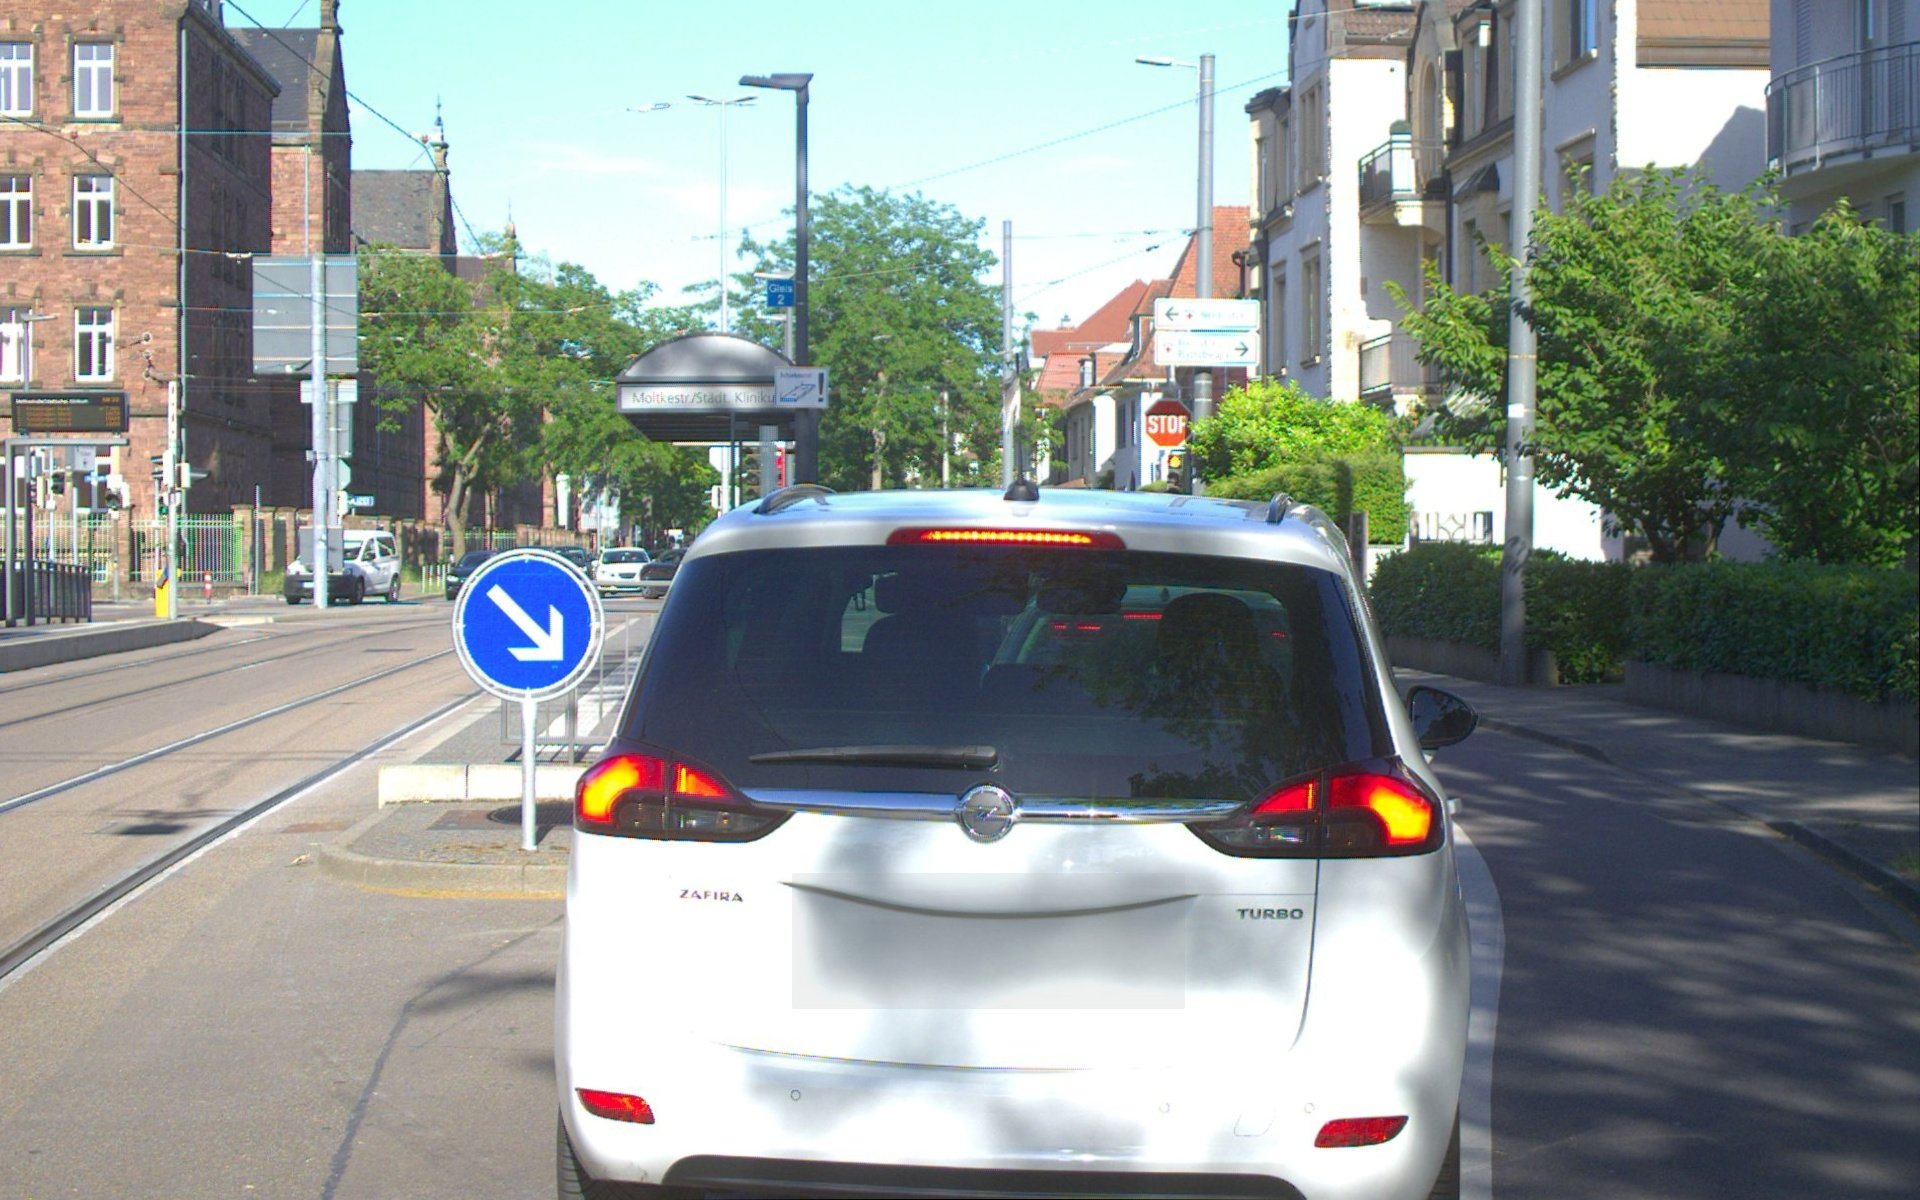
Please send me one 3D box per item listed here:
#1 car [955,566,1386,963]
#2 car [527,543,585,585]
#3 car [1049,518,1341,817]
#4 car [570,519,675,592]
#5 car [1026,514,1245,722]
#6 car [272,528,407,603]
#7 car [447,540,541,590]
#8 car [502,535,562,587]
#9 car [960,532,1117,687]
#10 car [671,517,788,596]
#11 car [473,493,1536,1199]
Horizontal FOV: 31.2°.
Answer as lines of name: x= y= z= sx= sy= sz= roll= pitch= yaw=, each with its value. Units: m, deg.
car: x=0.950 y=0.596 z=14.787 sx=1.569 sy=1.396 sz=3.783 roll=2 pitch=1 yaw=5
car: x=-14.079 y=-1.249 z=120.068 sx=1.826 sy=1.441 sz=4.328 roll=0 pitch=0 yaw=-4
car: x=1.470 y=0.337 z=21.036 sx=1.569 sy=1.609 sz=3.783 roll=2 pitch=1 yaw=5
car: x=-9.550 y=-1.262 z=97.024 sx=1.993 sy=2.007 sz=4.001 roll=0 pitch=1 yaw=-20
car: x=1.461 y=0.114 z=29.845 sx=1.596 sy=1.629 sz=3.901 roll=2 pitch=1 yaw=-1
car: x=-15.125 y=-0.874 z=84.040 sx=1.828 sy=1.782 sz=4.253 roll=0 pitch=1 yaw=11
car: x=-13.247 y=-1.010 z=97.957 sx=1.798 sy=1.377 sz=4.495 roll=0 pitch=1 yaw=4
car: x=-13.830 y=-1.242 z=111.190 sx=1.826 sy=1.611 sz=4.328 roll=0 pitch=0 yaw=-6
car: x=0.851 y=0.077 z=39.321 sx=1.596 sy=1.629 sz=3.901 roll=2 pitch=1 yaw=-1
car: x=-6.005 y=-1.139 z=89.247 sx=1.993 sy=2.007 sz=4.001 roll=0 pitch=1 yaw=-20
car: x=0.238 y=0.570 z=8.092 sx=1.878 sy=1.579 sz=3.999 roll=1 pitch=1 yaw=5
